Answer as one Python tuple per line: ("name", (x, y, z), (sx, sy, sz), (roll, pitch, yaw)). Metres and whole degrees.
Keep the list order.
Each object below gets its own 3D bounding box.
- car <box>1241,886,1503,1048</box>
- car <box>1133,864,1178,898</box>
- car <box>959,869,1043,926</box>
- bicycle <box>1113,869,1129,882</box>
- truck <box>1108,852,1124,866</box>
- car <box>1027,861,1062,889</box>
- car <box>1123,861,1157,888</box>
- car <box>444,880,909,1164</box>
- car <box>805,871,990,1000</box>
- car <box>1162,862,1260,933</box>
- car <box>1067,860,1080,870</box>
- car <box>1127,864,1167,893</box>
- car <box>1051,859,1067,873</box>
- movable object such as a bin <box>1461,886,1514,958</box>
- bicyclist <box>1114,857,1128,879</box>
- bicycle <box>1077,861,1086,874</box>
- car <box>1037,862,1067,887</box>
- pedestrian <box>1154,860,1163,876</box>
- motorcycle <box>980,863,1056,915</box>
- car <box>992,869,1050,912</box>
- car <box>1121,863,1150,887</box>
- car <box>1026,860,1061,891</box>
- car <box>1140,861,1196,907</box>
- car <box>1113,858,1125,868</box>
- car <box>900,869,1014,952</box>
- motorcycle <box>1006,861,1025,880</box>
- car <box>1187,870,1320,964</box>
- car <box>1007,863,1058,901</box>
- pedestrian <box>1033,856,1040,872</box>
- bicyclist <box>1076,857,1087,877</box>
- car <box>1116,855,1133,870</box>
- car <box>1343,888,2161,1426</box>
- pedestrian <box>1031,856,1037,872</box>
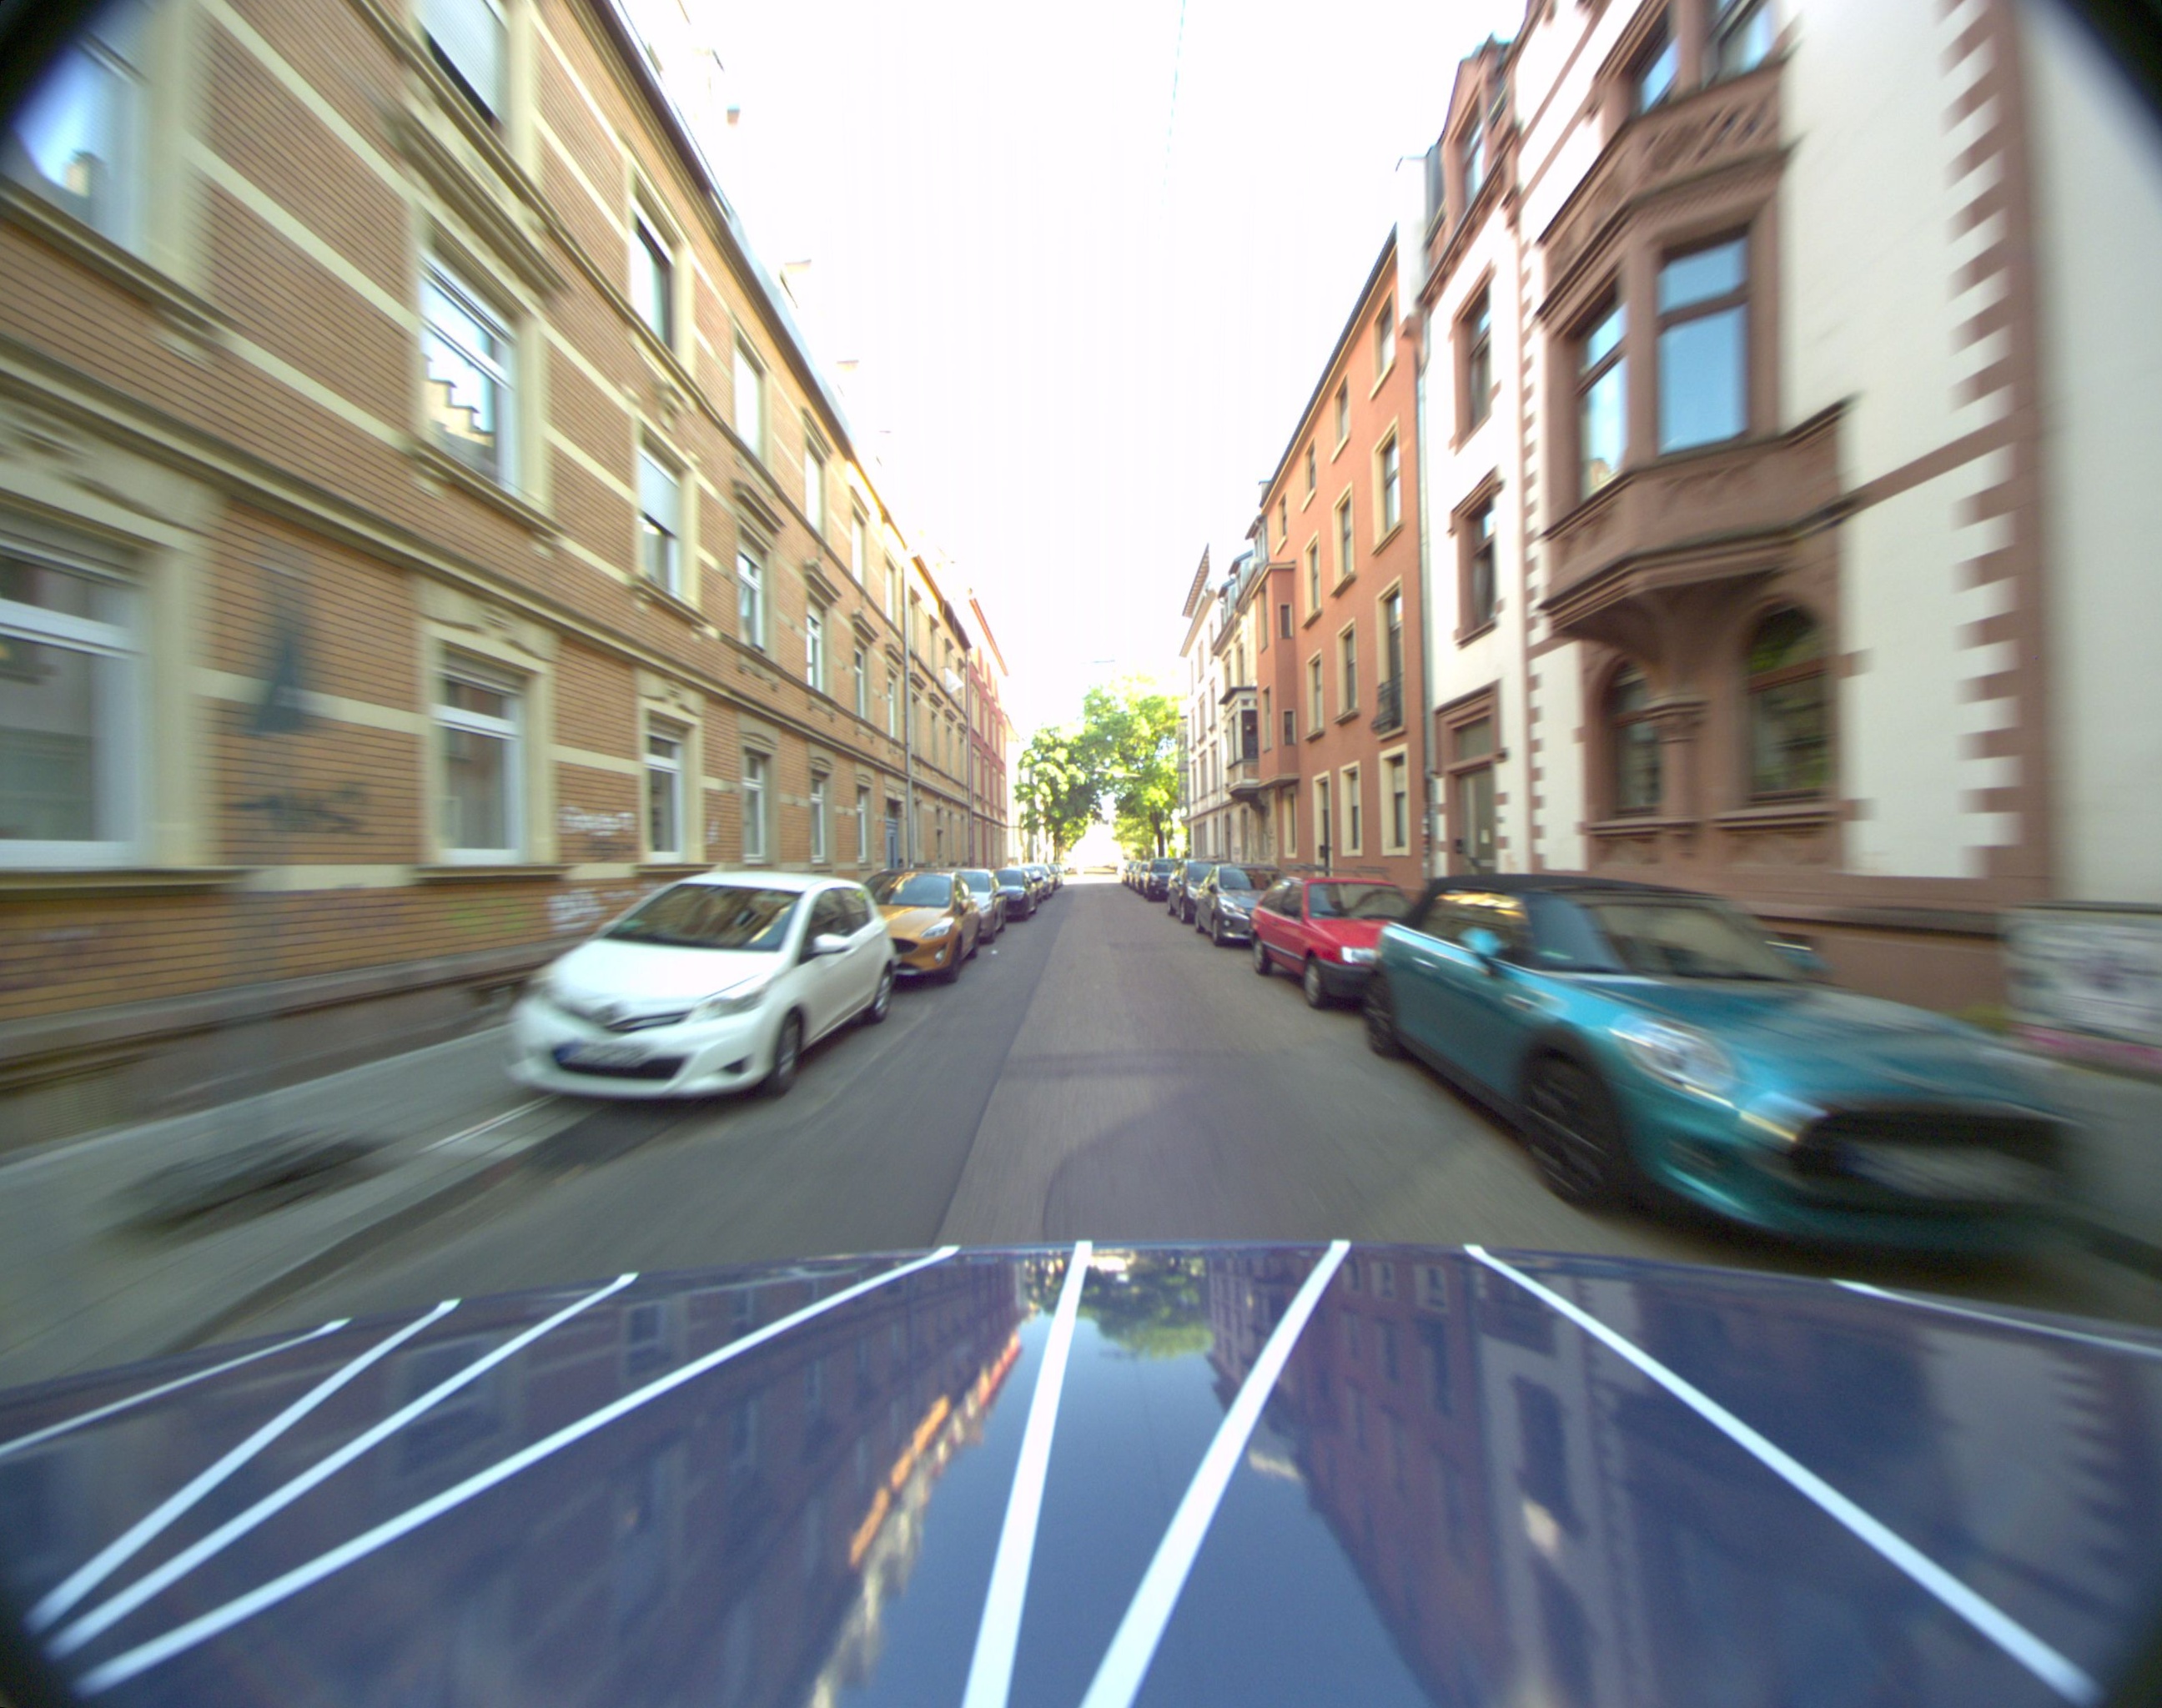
("car", (3.065, 1.119, 8.814), (1.622, 1.319, 3.612), (2, 0, 0))
("car", (3.372, 1.184, 34.803), (1.647, 1.447, 3.839), (1, 0, 0))
("car", (-2.160, 1.150, 21.623), (1.781, 1.388, 4.318), (-1, -1, 1))
("bicycle", (3.657, 1.974, 69.496), (0.986, 1.136, 2.546), (-1, 0, -6))
("truck", (6.519, 0.930, 141.683), (2.395, 2.641, 7.093), (-1, 0, -1))
("car", (-2.038, 1.152, 43.505), (1.681, 1.494, 4.069), (-1, -1, 1))
("car", (3.509, 1.191, 45.579), (1.785, 1.474, 3.743), (-1, 0, 2))
("car", (-2.845, 1.058, 6.508), (1.725, 1.472, 4.083), (3, 0, 0))
("car", (-2.479, 1.043, 11.286), (1.758, 1.437, 4.068), (2, 0, -1))
("car", (3.239, 1.025, 19.730), (1.786, 1.596, 4.069), (-1, 0, 0))
("car", (-1.119, 1.699, 118.980), (1.812, 1.411, 4.000), (-1, 0, 1))
("car", (3.454, 1.253, 40.312), (1.786, 1.395, 3.742), (-1, 0, 0))
("car", (-2.411, 1.306, 83.741), (1.685, 1.531, 4.134), (0, 0, 0))
("movable object such as a bin", (6.026, 1.001, 11.290), (0.552, 1.021, 0.559), (-3, 0, 16))
("bicyclist", (3.653, 1.261, 69.064), (0.968, 1.904, 1.138), (-1, 0, -12))
("bicycle", (0.029, 1.264, 69.685), (0.810, 1.136, 2.547), (-1, 0, 1))
("car", (-1.846, 1.277, 48.888), (1.709, 1.453, 3.970), (-1, 0, 1))
("pedestrian", (8.308, 1.491, 81.189), (0.804, 1.735, 1.006), (-1, 0, 1))
("motorcycle", (-2.064, 1.121, 25.019), (2.229, 1.527, 0.888), (-3, 0, -25))
("car", (-2.124, 1.271, 27.921), (1.696, 1.398, 3.993), (-1, 0, 2))
("car", (3.543, 1.331, 49.837), (1.785, 1.474, 3.933), (-1, 0, 3))
("car", (-1.886, 1.076, 38.877), (1.663, 1.471, 4.024), (-1, 0, -1))
("car", (3.309, 1.089, 29.443), (1.765, 1.608, 4.189), (-1, 0, 2))
("car", (6.134, 1.424, 123.899), (1.755, 1.464, 4.000), (-3, 0, 1))
("car", (-2.471, 1.082, 16.132), (1.730, 1.409, 4.094), (3, -1, -1))
("motorcycle", (-5.301, 1.345, 61.706), (0.873, 1.516, 2.625), (-1, -1, 9))
("car", (3.131, 1.084, 14.581), (1.698, 1.465, 3.919), (2, 0, 1))
("car", (-2.015, 1.153, 32.818), (1.766, 1.475, 4.402), (-1, 0, 2))
("pedestrian", (-5.229, 1.195, 89.406), (0.706, 1.834, 0.840), (-1, 0, -5))
("bicyclist", (0.023, 1.153, 69.584), (0.934, 1.808, 1.078), (-1, 0, 1))
("car", (5.873, 1.181, 103.068), (1.998, 1.946, 5.043), (1, 0, 1))
("car", (2.938, 1.024, 4.296), (1.722, 1.404, 3.899), (3, 0, 4))
("pedestrian", (-5.453, 1.135, 88.469), (0.529, 1.834, 0.707), (-1, 0, 2))
